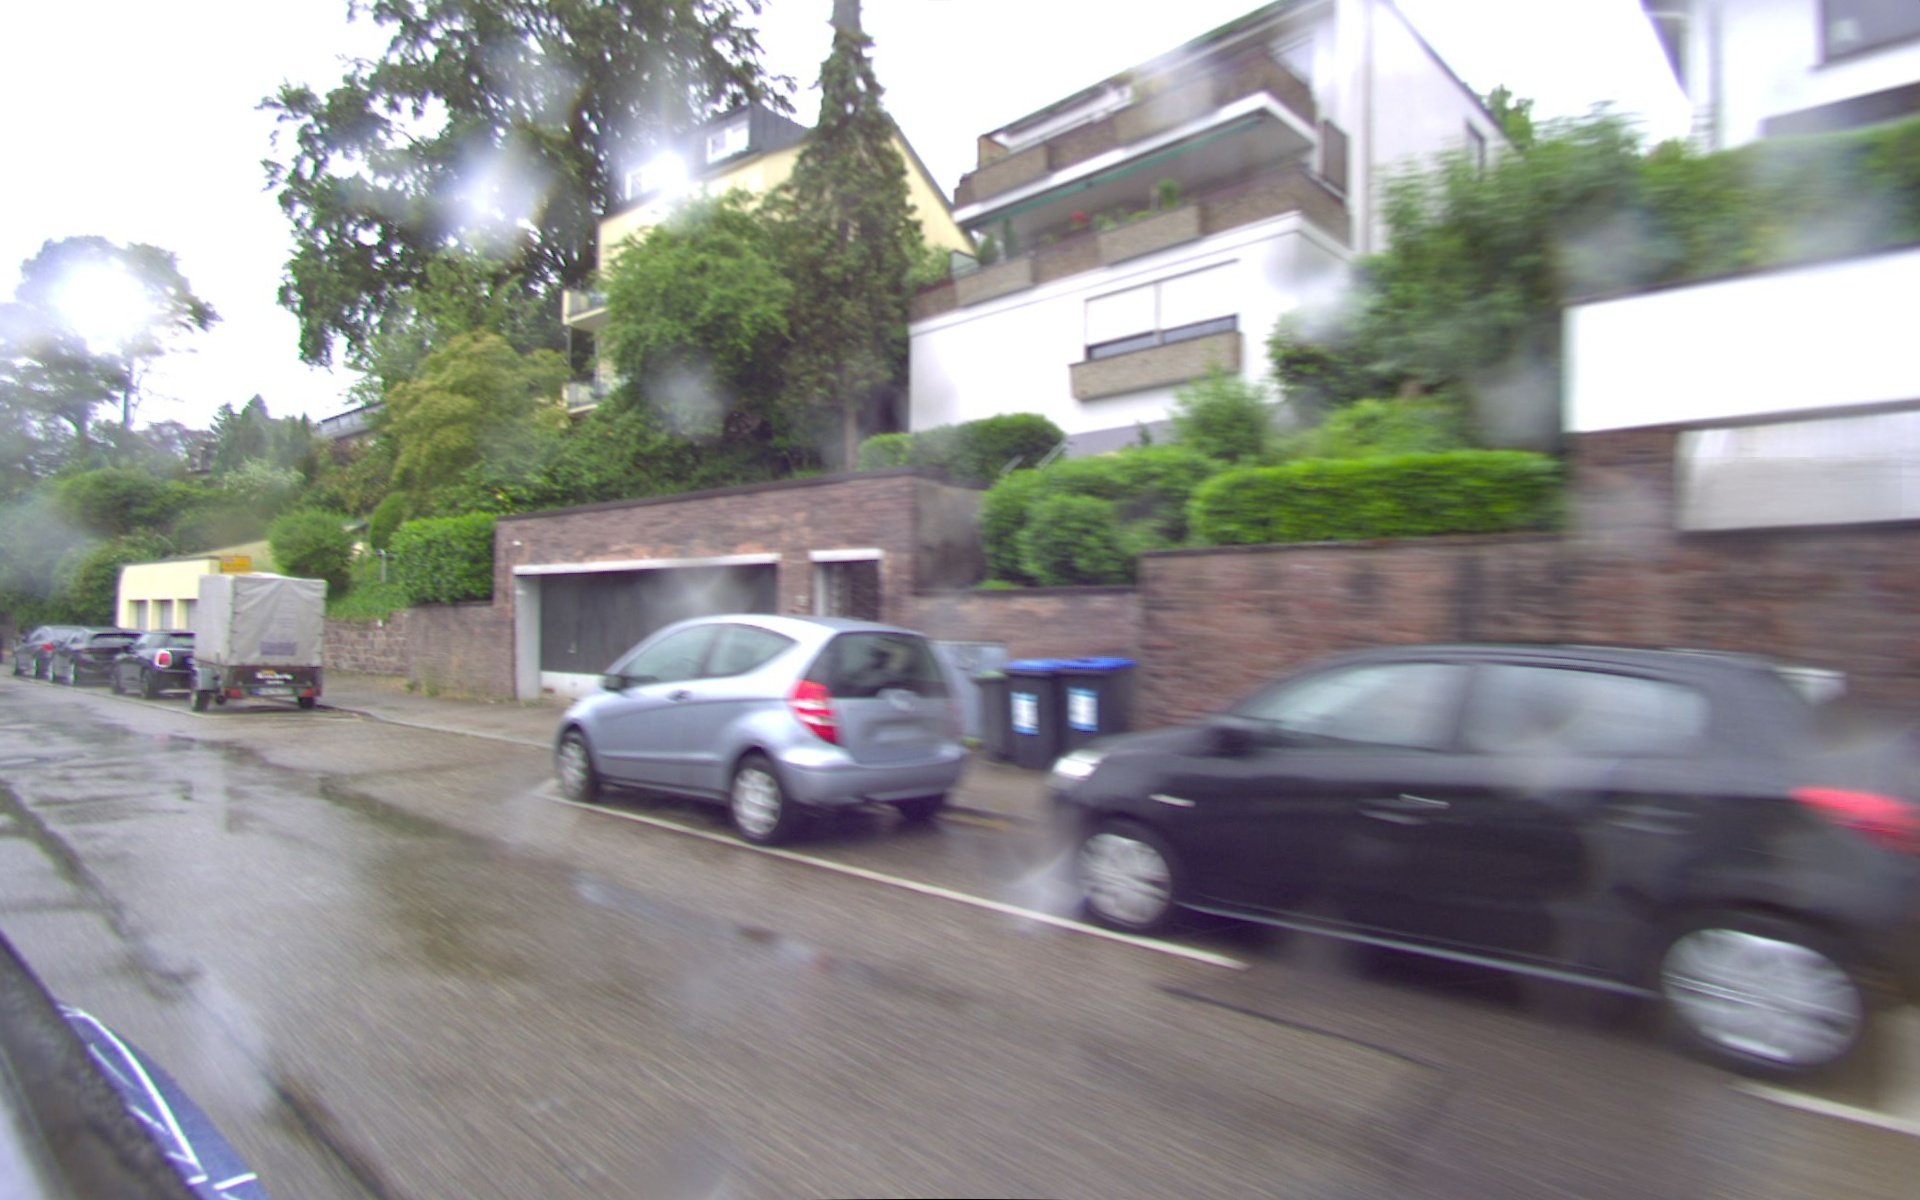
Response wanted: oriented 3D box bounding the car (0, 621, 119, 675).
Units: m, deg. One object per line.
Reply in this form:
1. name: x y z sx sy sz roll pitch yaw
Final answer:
1. car: -26.376 1.376 29.567 4.748 1.466 1.768 -1 -4 38

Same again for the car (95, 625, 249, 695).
1. car: -16.910 1.228 21.665 3.772 1.360 1.790 -1 -3 39

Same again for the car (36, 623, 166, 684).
1. car: -22.046 1.326 25.925 4.213 1.426 1.768 -1 -3 39

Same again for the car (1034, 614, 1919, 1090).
1. car: 2.355 0.829 4.656 3.702 1.420 1.738 -1 -4 41

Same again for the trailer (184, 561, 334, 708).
1. trailer: -12.682 0.628 18.259 3.072 2.418 1.520 -1 -3 43

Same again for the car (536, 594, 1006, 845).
1. car: -1.646 0.820 8.174 3.754 1.551 1.738 -1 -4 41
